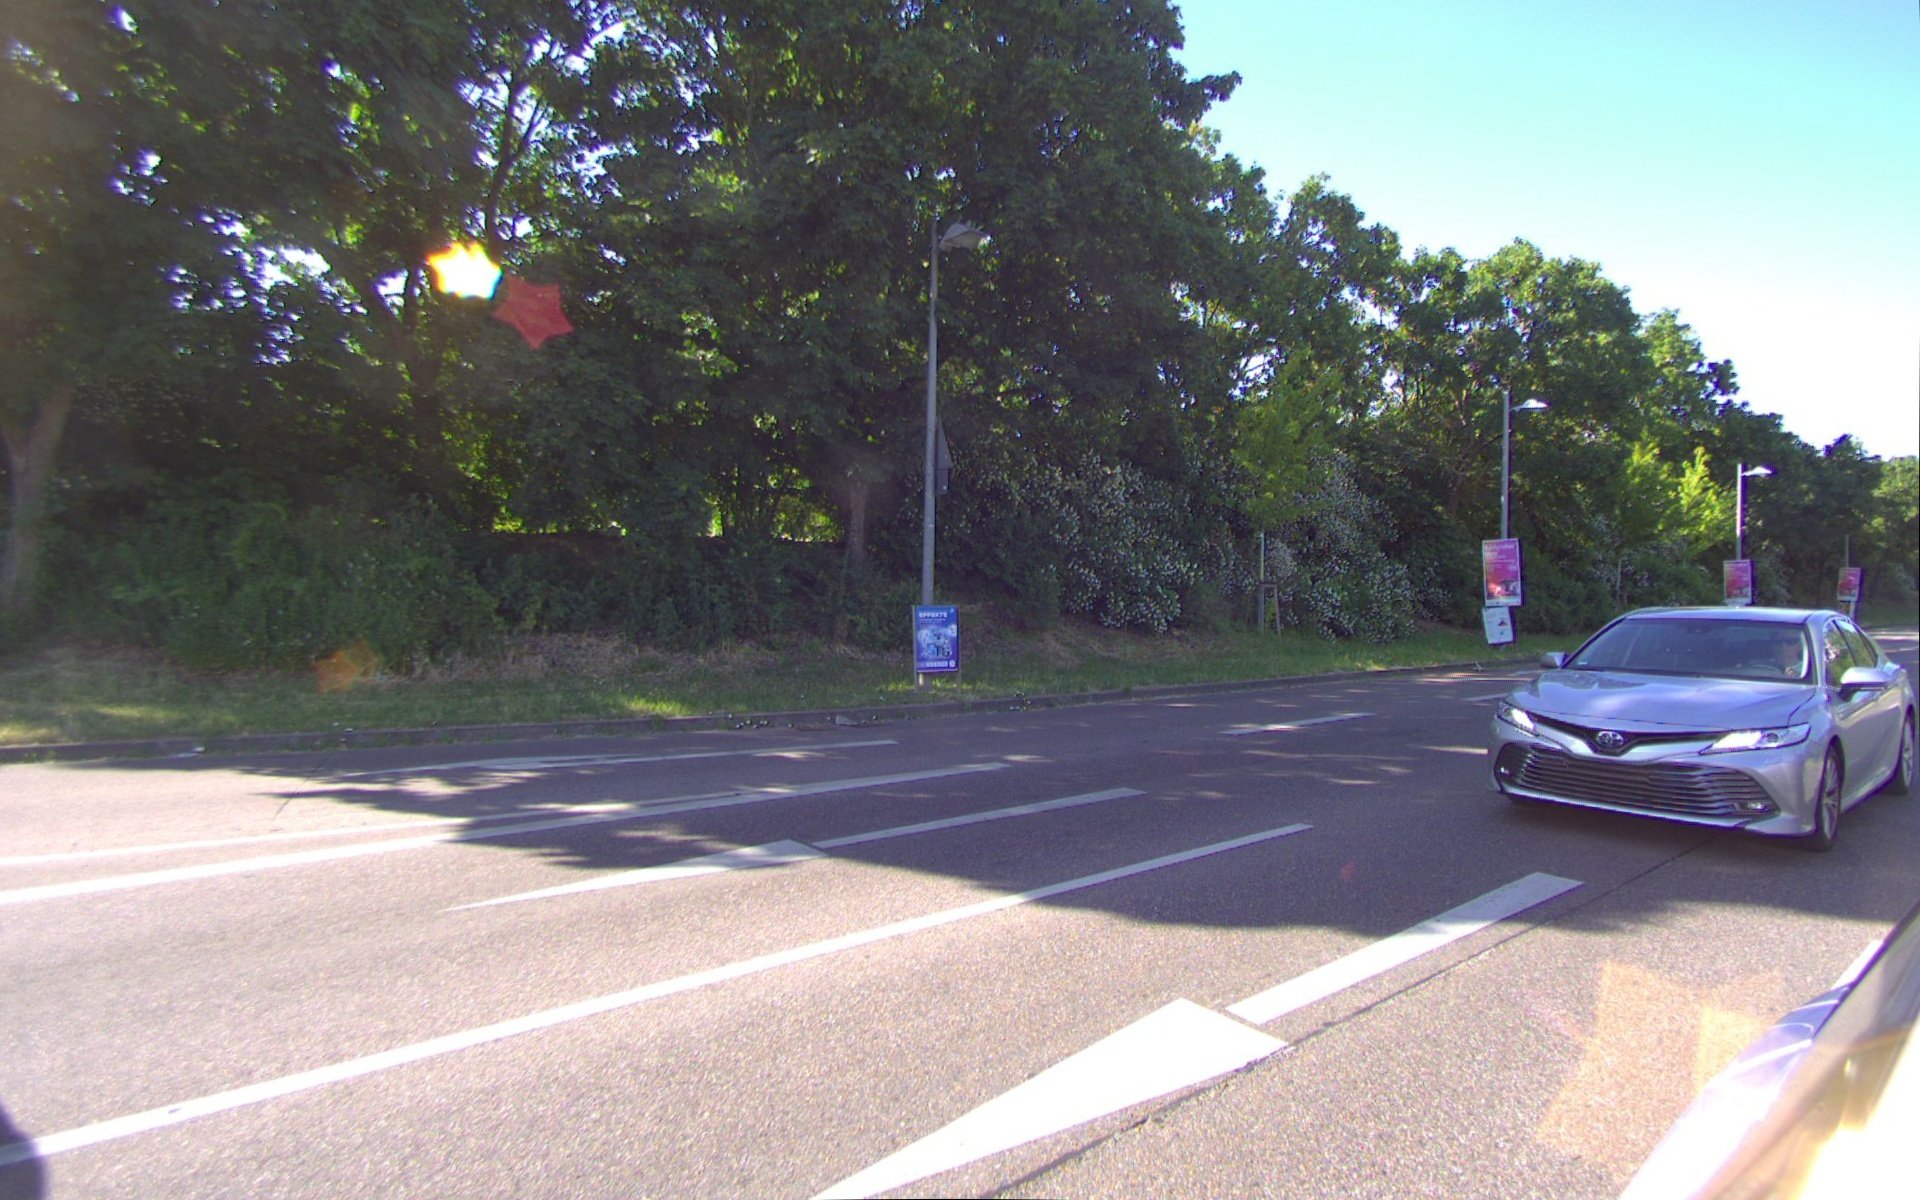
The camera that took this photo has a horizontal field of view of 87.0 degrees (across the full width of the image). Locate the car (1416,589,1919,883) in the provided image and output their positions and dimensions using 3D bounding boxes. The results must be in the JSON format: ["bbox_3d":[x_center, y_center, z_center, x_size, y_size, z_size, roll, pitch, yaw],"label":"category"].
[{"bbox_3d":[5.528,0.688,7.521,4.664,1.477,2.069,0,2,-40],"label":"car"}]
